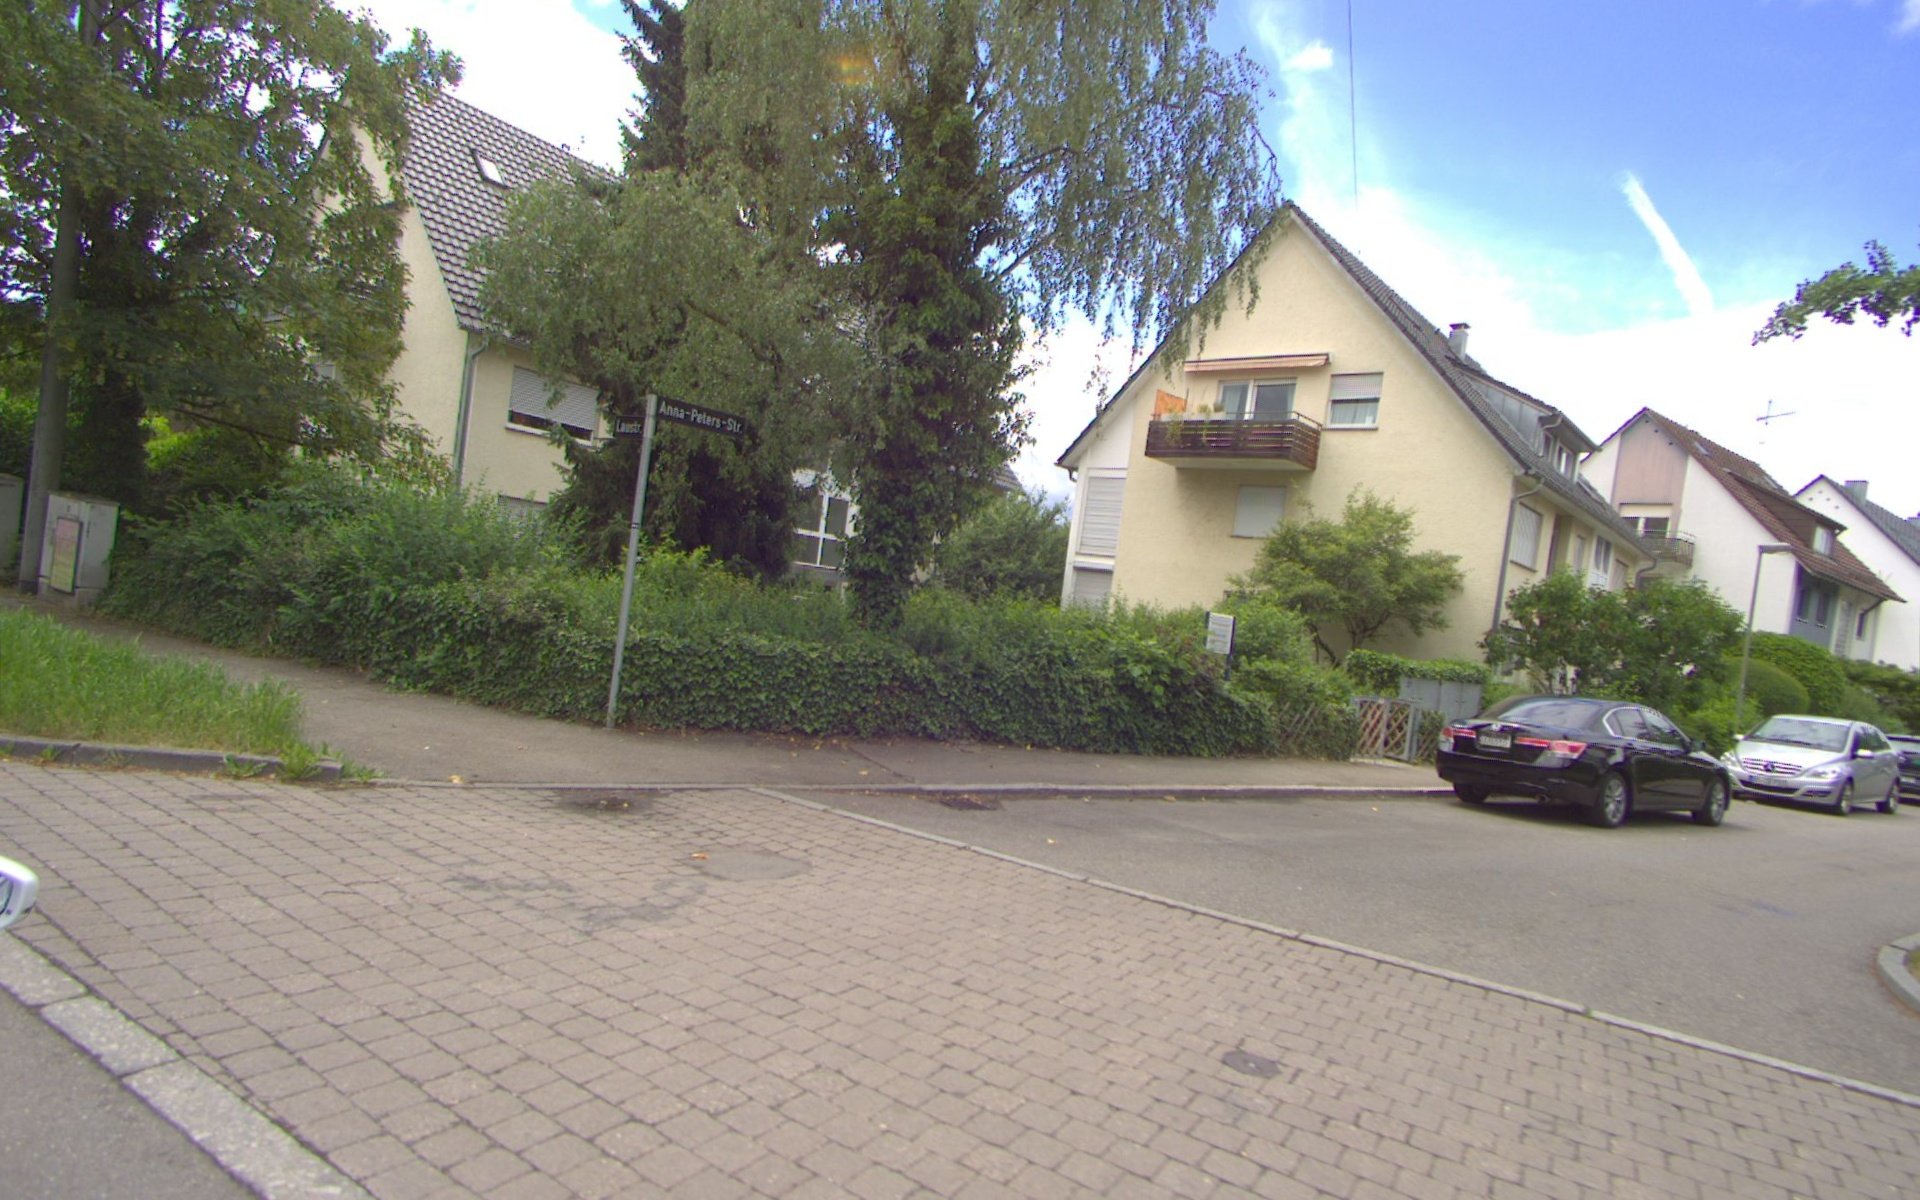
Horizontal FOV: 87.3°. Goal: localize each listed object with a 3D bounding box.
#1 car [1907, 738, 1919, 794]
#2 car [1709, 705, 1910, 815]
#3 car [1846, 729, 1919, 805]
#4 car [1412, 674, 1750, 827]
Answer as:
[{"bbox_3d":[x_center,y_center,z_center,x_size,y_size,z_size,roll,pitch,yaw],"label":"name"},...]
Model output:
[{"bbox_3d":[25.432,4.345,25.182,3.831,1.328,1.696,8,0,-35],"label":"car"},{"bbox_3d":[15.359,2.894,18.140,3.933,1.573,1.749,8,-2,-35],"label":"car"},{"bbox_3d":[21.334,3.764,22.261,3.971,1.386,1.723,8,-1,-37],"label":"car"},{"bbox_3d":[7.934,1.924,12.741,4.417,1.481,1.854,8,-2,-33],"label":"car"}]
